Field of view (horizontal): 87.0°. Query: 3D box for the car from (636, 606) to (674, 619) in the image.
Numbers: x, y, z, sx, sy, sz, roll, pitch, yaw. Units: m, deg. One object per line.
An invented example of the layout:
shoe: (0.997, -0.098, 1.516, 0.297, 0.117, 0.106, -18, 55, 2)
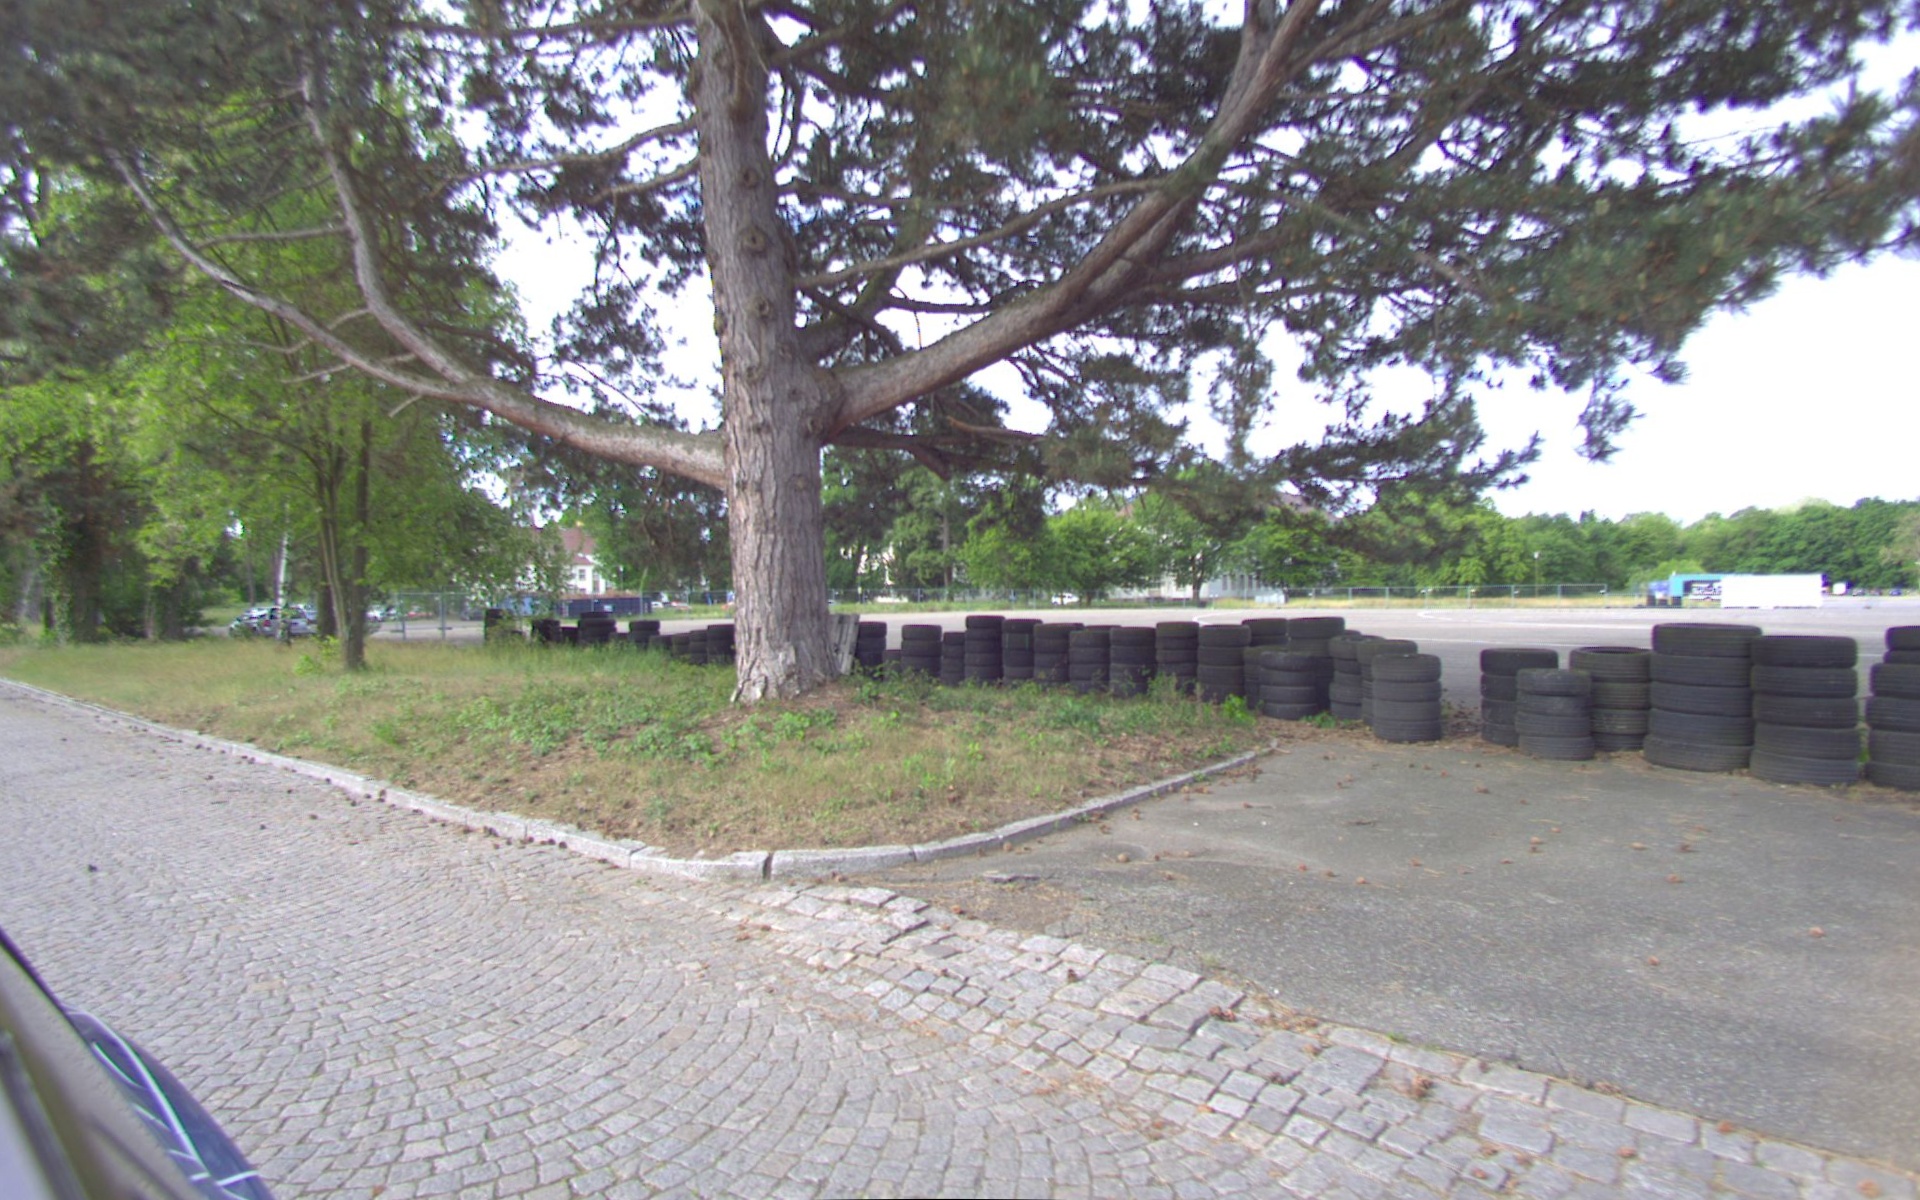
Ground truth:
car: (-32.586, 1.366, 108.147, 4.398, 1.361, 1.689, -1, 0, 40)

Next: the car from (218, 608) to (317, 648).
car: (-26.390, 1.078, 38.520, 4.414, 1.427, 1.807, -1, -3, 38)

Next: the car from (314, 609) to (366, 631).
car: (-45.813, 1.477, 74.750, 4.395, 1.486, 1.808, -1, 0, 37)

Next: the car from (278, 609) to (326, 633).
car: (-47.151, 1.495, 72.458, 3.892, 1.531, 1.654, -3, -2, 37)

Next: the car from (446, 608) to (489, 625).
car: (-45.313, 1.539, 93.039, 4.395, 1.486, 1.808, -1, 0, 37)

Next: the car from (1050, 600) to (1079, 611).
car: (16.776, 0.894, 162.176, 4.288, 1.735, 1.806, -1, 2, 41)

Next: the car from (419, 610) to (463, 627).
car: (-46.646, 1.645, 90.866, 4.395, 1.486, 1.808, -1, 0, 37)

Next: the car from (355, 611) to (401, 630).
car: (-44.436, 1.552, 77.198, 4.031, 1.410, 1.617, -1, 0, 37)

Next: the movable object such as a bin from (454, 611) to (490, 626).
movable object such as a bin: (-33.635, 1.300, 69.718, 1.952, 0.976, 1.432, -1, 0, 33)

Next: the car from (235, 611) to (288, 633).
car: (-48.679, 1.536, 70.508, 4.313, 1.436, 1.808, -1, 0, 37)
